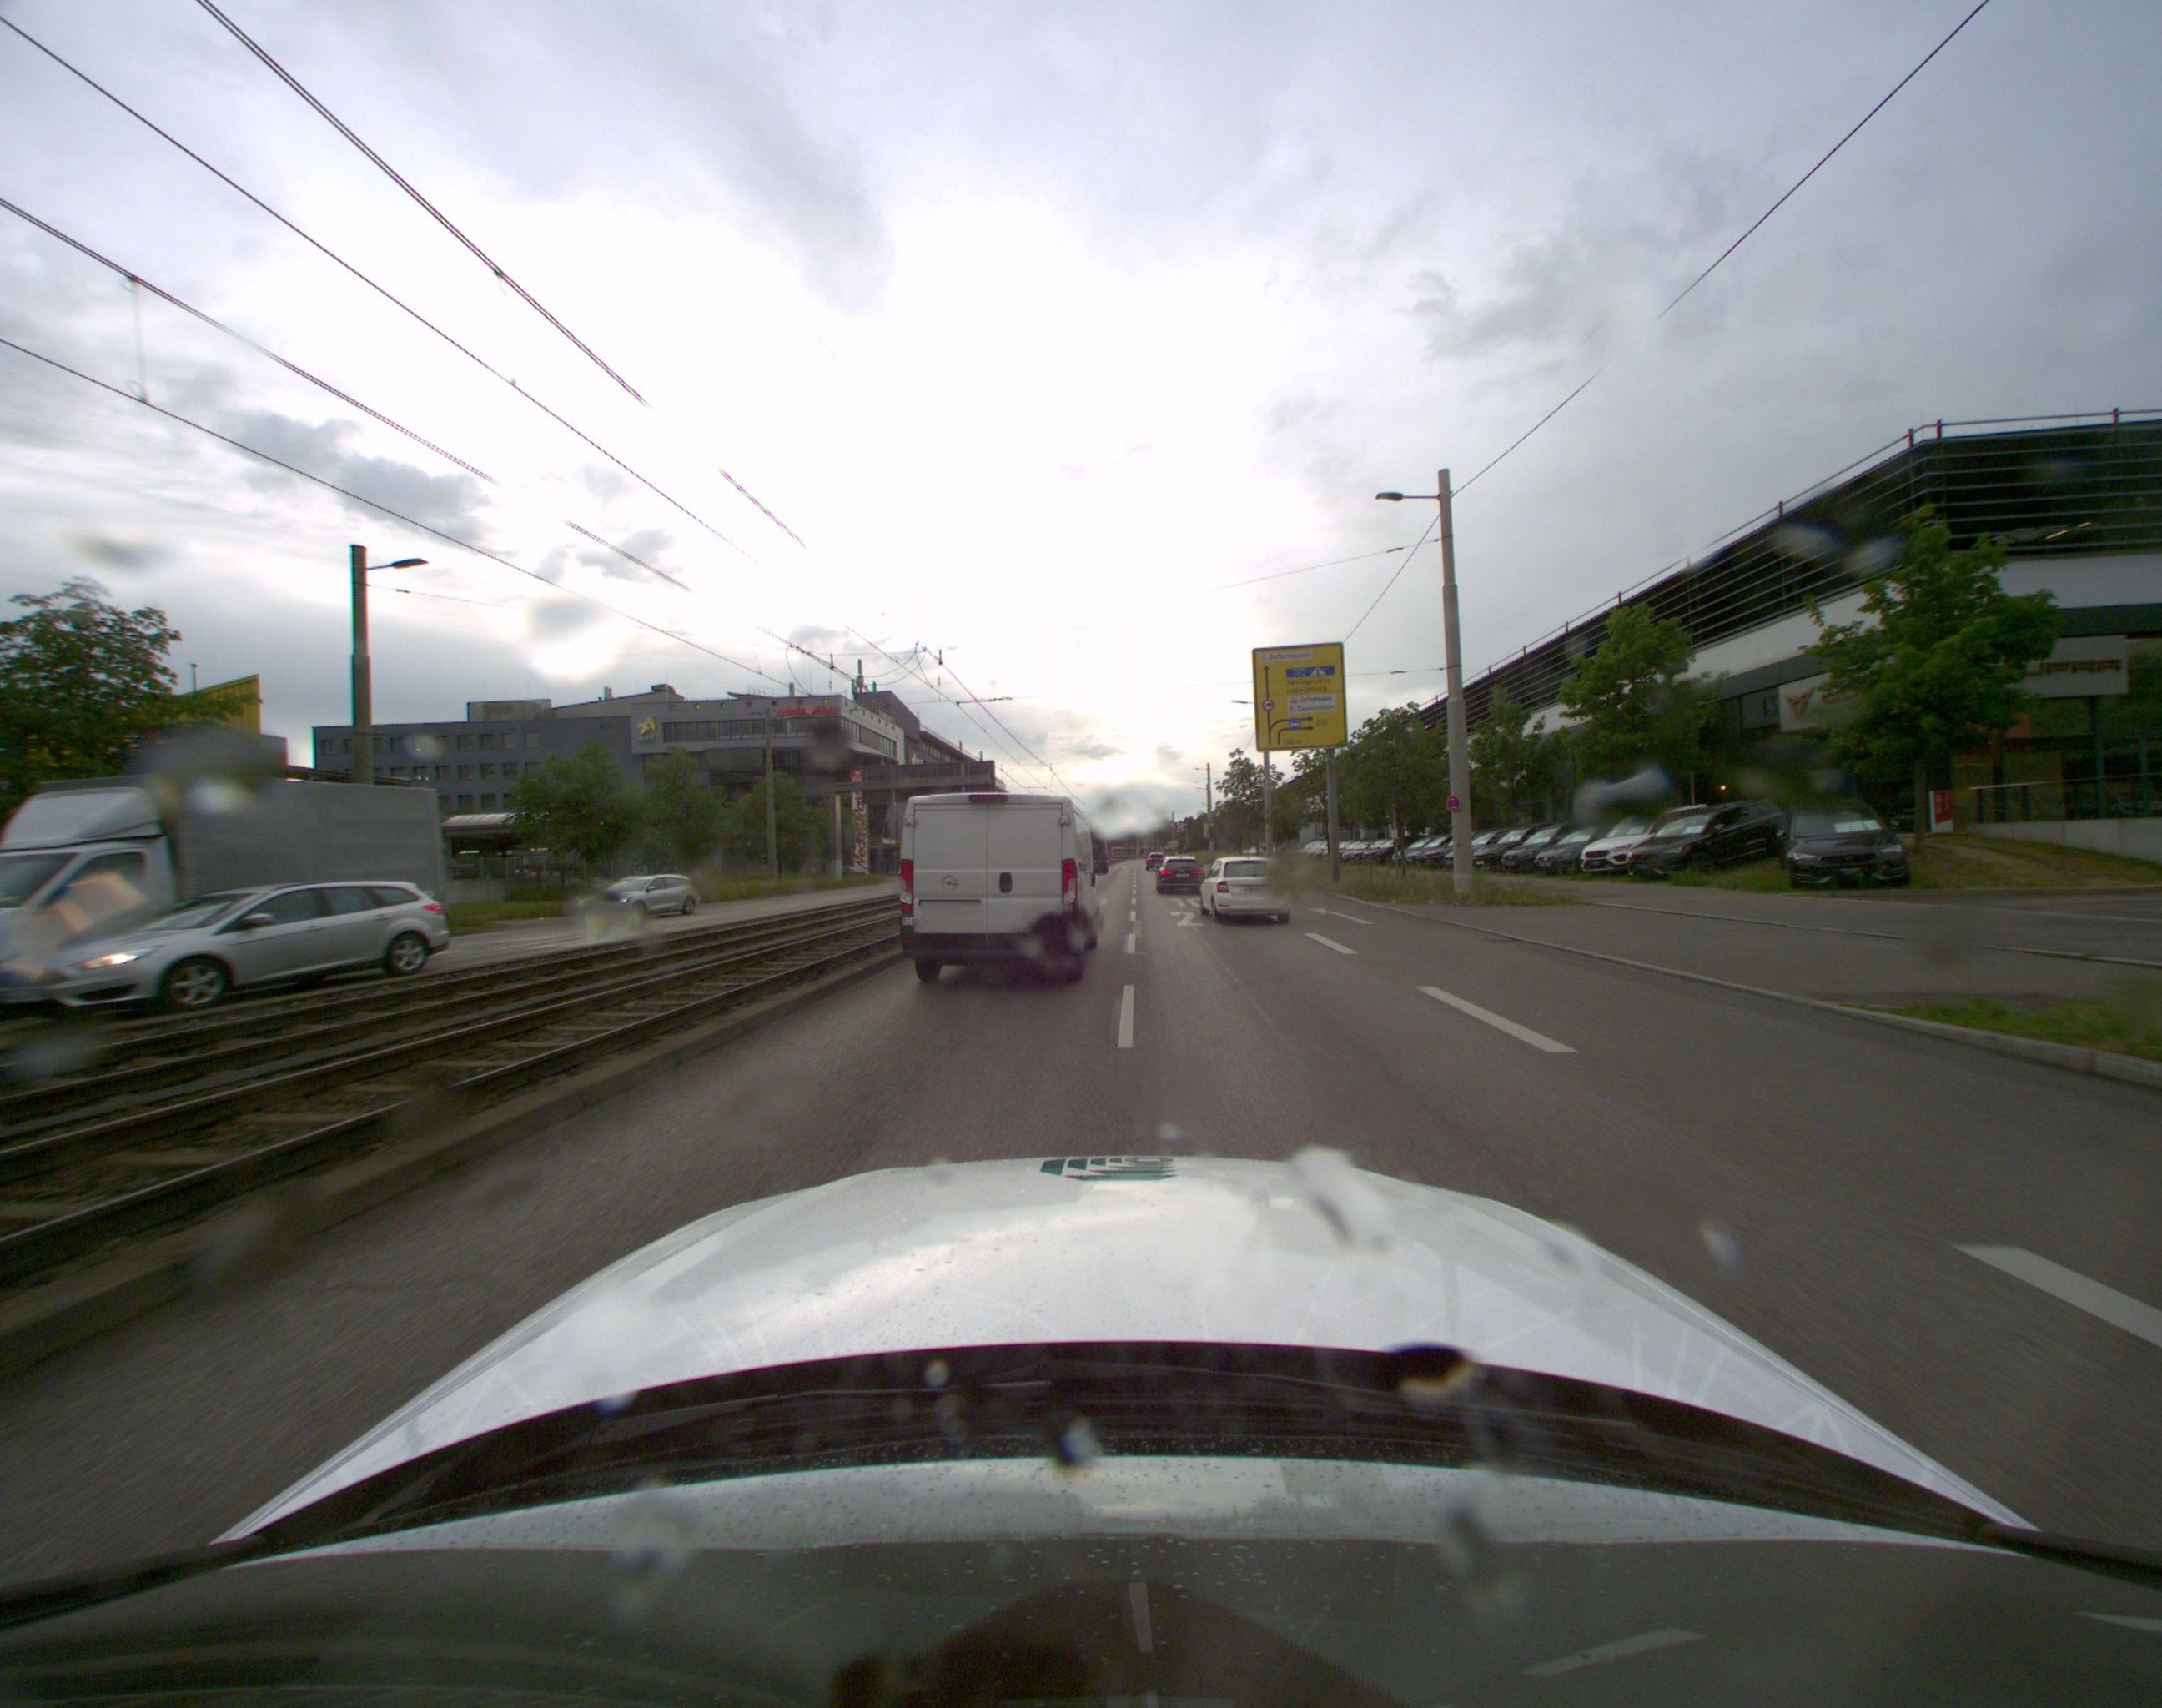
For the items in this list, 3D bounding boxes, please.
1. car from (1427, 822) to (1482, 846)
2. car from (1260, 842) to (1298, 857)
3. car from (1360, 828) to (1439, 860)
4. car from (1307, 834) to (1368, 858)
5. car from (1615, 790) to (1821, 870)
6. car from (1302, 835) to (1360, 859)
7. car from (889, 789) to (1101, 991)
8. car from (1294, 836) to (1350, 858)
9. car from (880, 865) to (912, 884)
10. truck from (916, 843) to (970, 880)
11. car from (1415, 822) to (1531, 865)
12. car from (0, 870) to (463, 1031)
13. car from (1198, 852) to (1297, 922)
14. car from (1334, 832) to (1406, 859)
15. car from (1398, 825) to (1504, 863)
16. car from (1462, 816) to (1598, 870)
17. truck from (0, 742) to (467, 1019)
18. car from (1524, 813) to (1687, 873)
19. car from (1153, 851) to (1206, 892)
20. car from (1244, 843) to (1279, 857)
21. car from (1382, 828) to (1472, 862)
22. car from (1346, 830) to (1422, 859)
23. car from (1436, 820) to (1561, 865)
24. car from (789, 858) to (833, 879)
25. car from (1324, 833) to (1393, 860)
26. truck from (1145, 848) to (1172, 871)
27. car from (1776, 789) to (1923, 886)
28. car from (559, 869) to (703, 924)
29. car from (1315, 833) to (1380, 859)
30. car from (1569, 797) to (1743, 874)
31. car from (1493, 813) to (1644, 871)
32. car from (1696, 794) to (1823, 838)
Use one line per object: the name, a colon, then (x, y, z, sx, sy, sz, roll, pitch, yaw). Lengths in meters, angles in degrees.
car: (34.149, -1.834, 74.535, 4.009, 1.976, 1.946, -3, 0, 3)
car: (22.796, -0.527, 93.810, 4.111, 1.465, 1.732, -3, -1, -29)
car: (18.672, -0.586, 47.766, 4.052, 1.576, 1.723, -4, 0, -16)
car: (19.454, -0.587, 61.802, 4.154, 1.569, 1.814, -4, 0, -21)
car: (16.993, -0.626, 21.808, 4.377, 1.789, 1.872, -4, 0, -10)
car: (19.846, -0.586, 64.676, 4.154, 1.604, 1.814, -4, 0, -21)
car: (-0.885, 0.369, 11.424, 2.081, 2.196, 5.066, 0, 0, 4)
car: (19.950, -0.572, 67.509, 4.156, 1.562, 1.855, -4, 0, -23)
car: (-18.216, 1.975, 80.189, 2.948, 1.536, 1.595, -5, 3, -16)
truck: (-10.322, 0.530, 61.603, 2.228, 2.564, 7.022, -4, 0, 4)
car: (18.065, -0.479, 37.611, 4.482, 1.663, 1.816, -4, 0, -8)
car: (-11.084, 1.098, 10.931, 1.797, 1.499, 4.448, -5, 0, 6)
car: (3.772, 0.684, 18.982, 1.739, 1.457, 3.674, 0, 0, 3)
car: (18.931, -0.537, 53.460, 4.148, 1.458, 1.784, -4, 0, -16)
car: (18.300, -0.494, 40.368, 4.482, 1.569, 1.816, -4, 0, -8)
car: (17.764, -0.415, 32.331, 4.483, 1.795, 1.816, -4, 0, -8)
truck: (-14.205, 0.377, 13.016, 2.714, 3.357, 7.162, -4, 0, 5)
car: (17.332, -0.363, 26.983, 4.487, 1.637, 1.815, -4, 0, -11)
car: (3.794, 0.636, 31.894, 1.782, 1.449, 4.004, -1, 0, 3)
car: (22.880, -0.529, 103.191, 4.115, 1.568, 1.781, -3, -1, -33)
car: (18.159, -0.445, 42.792, 4.041, 1.501, 1.682, -4, 0, -8)
car: (18.859, -0.585, 50.668, 4.148, 1.534, 1.784, -4, 0, -16)
car: (17.973, -0.478, 35.176, 4.479, 1.619, 1.818, -4, 0, -5)
car: (-28.954, 1.570, 87.504, 3.978, 2.013, 1.998, -2, 0, -3)
car: (19.128, -0.524, 56.181, 4.148, 1.528, 1.821, -4, 0, -16)
truck: (6.517, 0.450, 68.718, 1.986, 1.790, 4.416, -2, 0, 2)
car: (16.811, -0.423, 18.030, 1.854, 1.816, 4.420, -4, 1, 38)
car: (-14.944, 1.360, 27.376, 1.887, 1.488, 4.433, -3, 0, 8)
car: (19.264, -0.588, 58.919, 4.152, 1.569, 1.897, -4, 0, -19)
car: (17.275, -0.543, 24.506, 4.496, 1.991, 1.811, -4, 0, -17)
car: (17.597, -0.415, 29.497, 4.483, 1.752, 1.816, -4, 0, -8)
car: (26.214, -1.422, 31.642, 1.772, 1.472, 3.902, -2, 0, 3)
